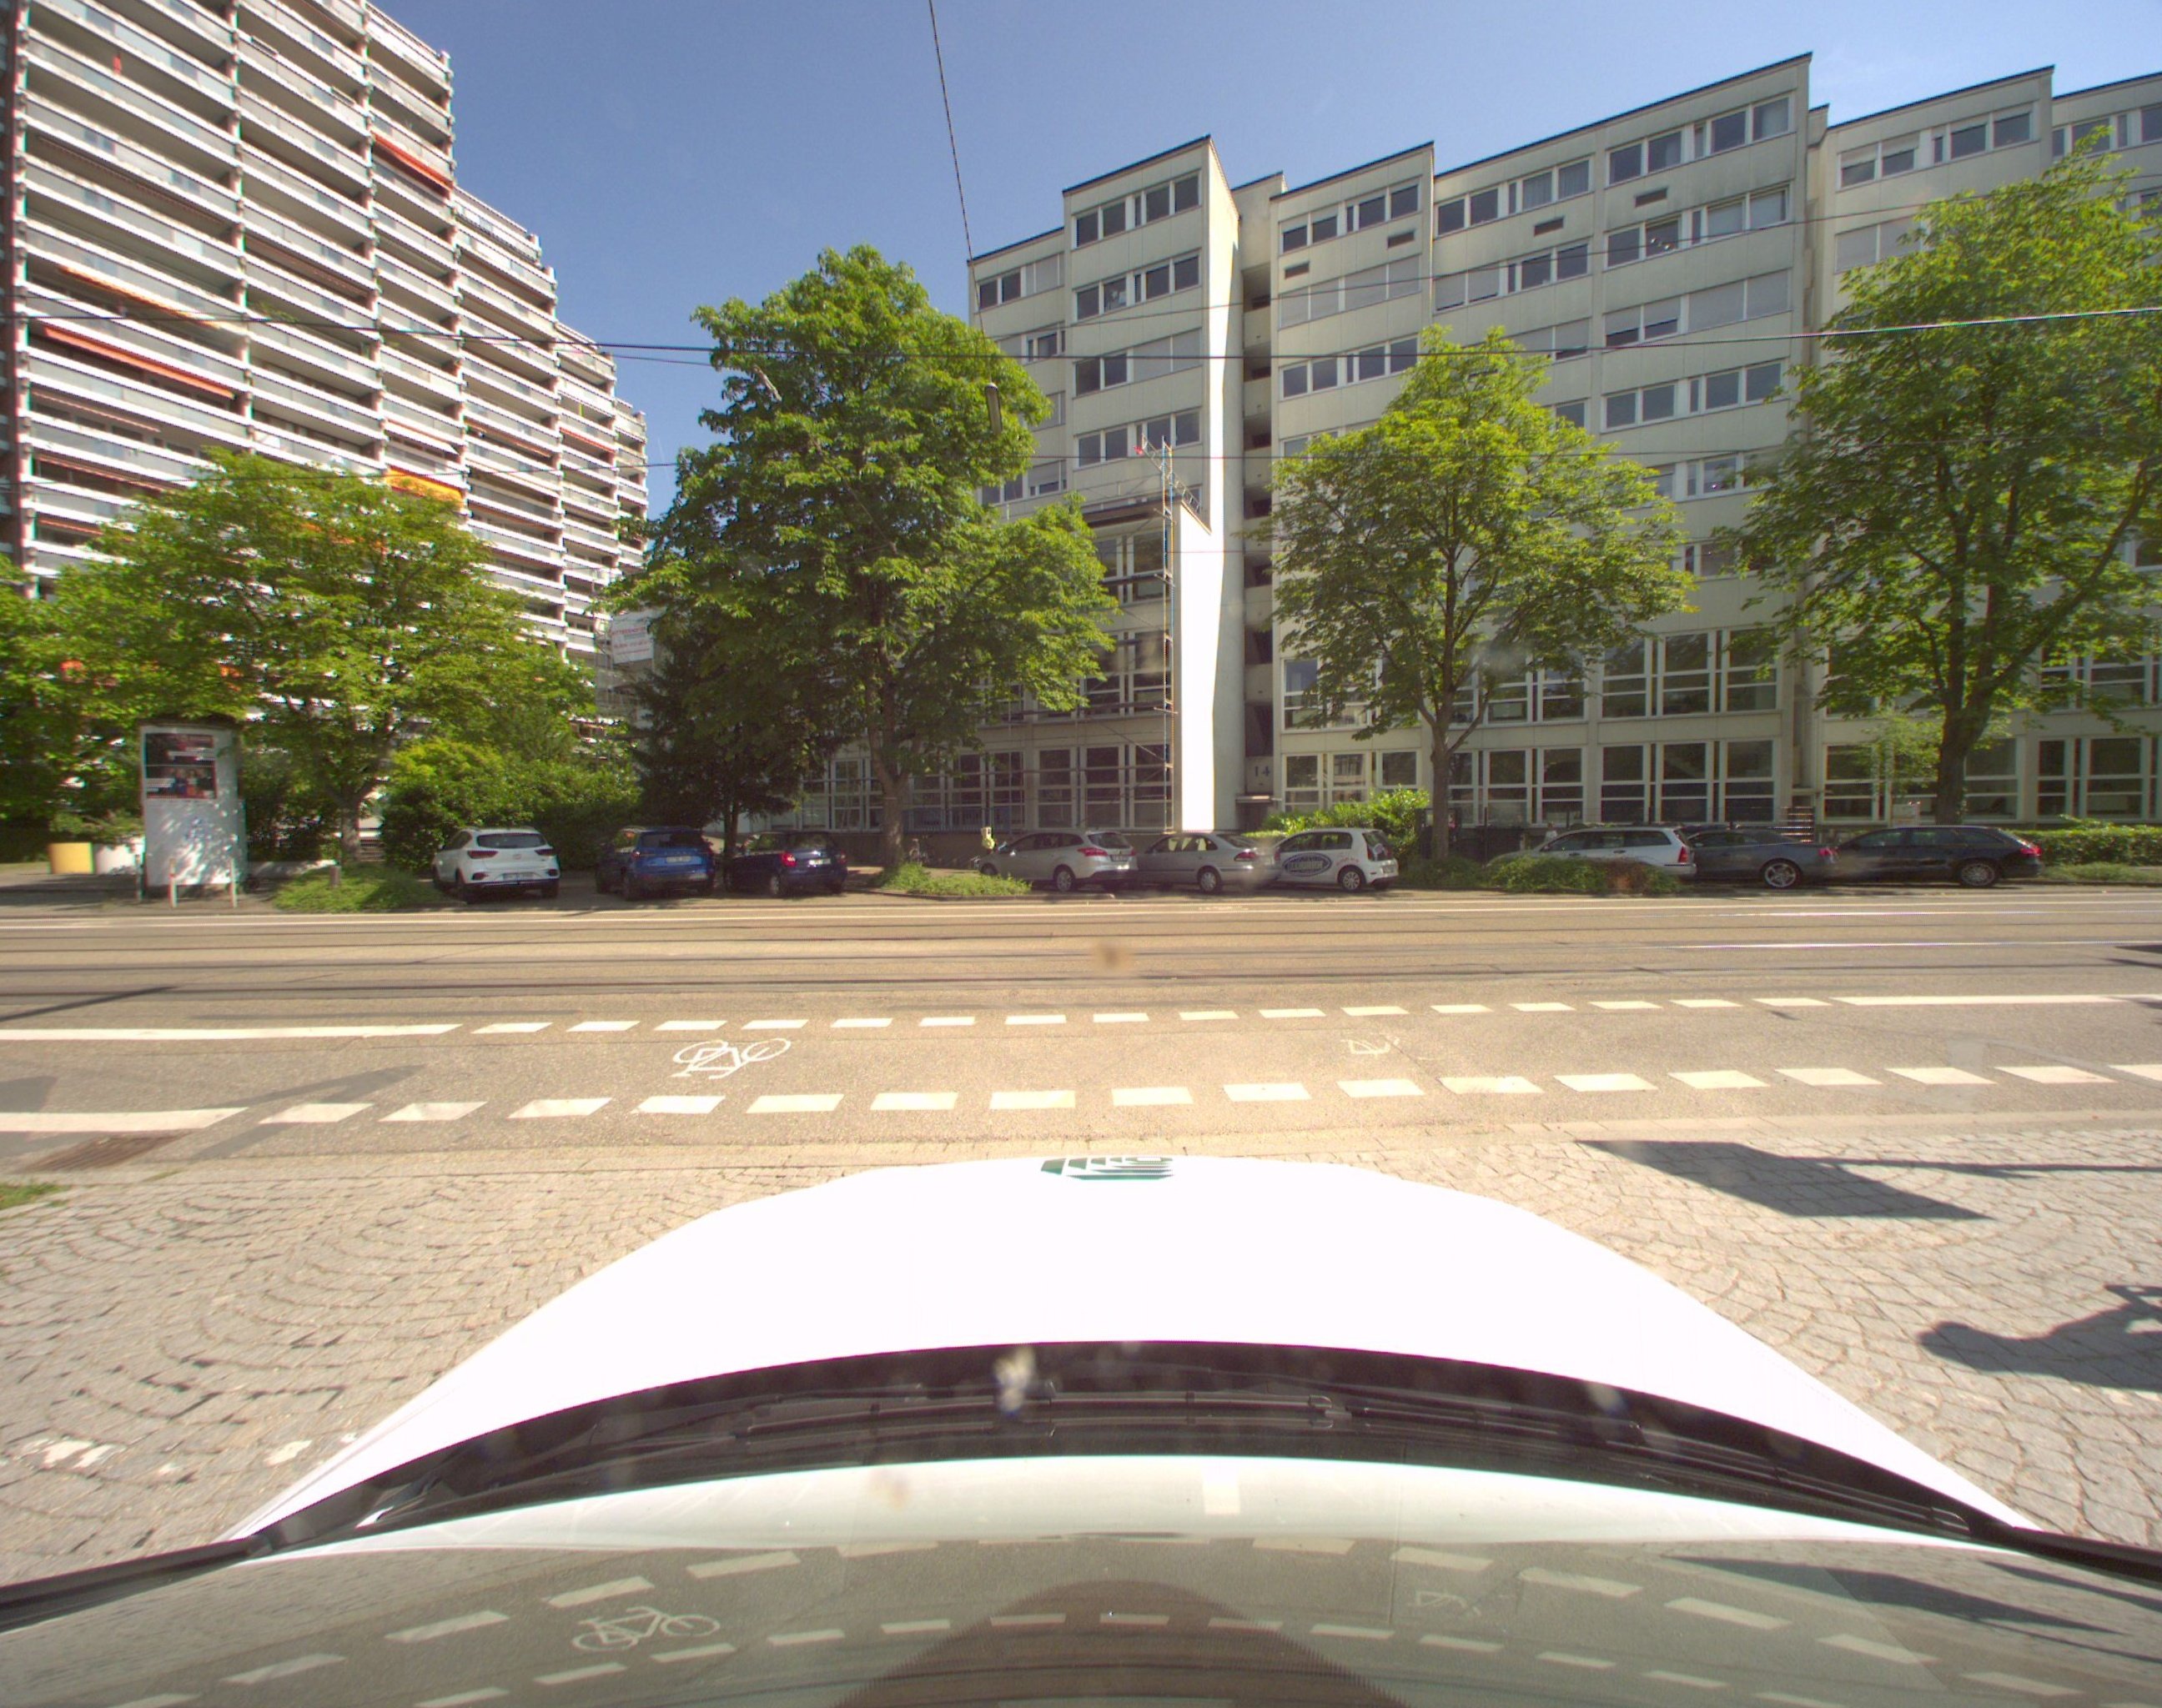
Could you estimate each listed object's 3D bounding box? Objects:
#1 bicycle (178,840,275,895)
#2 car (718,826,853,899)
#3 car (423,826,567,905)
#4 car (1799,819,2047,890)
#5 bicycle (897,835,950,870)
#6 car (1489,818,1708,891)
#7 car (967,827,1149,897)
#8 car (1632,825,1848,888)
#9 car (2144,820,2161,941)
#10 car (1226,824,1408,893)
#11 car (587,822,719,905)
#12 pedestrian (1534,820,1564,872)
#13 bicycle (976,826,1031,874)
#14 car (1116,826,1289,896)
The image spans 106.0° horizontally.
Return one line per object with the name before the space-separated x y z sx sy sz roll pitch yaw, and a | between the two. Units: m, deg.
bicycle | -20.979 0.327 20.015 1.614 1.308 0.546 -1 1 -7
car | -6.941 0.140 18.976 3.415 1.530 1.586 1 2 44
car | -13.445 0.179 18.613 3.895 1.606 1.831 1 2 42
car | 19.435 -0.046 19.035 3.896 1.486 1.568 1 2 44
bicycle | -5.182 -0.078 26.946 0.735 1.085 2.214 0 2 18
car | 12.410 -0.026 19.722 4.289 1.604 1.568 1 1 41
car | -0.645 0.123 19.522 4.380 1.486 1.795 1 2 44
car | 15.706 0.008 19.541 3.896 1.357 1.568 1 2 44
car | 14.901 0.326 8.775 4.566 1.407 1.892 -1 3 -2
car | 5.608 0.084 19.656 1.623 1.486 3.896 -2 2 -45
car | -10.006 0.118 18.900 1.790 1.622 3.899 -3 4 -42
pedestrian | 13.573 -0.237 23.621 0.618 1.460 0.424 -1 1 -4
bicycle | -2.455 -0.148 26.082 0.655 1.453 2.103 0 2 30
car | 2.803 0.097 19.369 1.622 1.486 3.897 -2 2 -44
